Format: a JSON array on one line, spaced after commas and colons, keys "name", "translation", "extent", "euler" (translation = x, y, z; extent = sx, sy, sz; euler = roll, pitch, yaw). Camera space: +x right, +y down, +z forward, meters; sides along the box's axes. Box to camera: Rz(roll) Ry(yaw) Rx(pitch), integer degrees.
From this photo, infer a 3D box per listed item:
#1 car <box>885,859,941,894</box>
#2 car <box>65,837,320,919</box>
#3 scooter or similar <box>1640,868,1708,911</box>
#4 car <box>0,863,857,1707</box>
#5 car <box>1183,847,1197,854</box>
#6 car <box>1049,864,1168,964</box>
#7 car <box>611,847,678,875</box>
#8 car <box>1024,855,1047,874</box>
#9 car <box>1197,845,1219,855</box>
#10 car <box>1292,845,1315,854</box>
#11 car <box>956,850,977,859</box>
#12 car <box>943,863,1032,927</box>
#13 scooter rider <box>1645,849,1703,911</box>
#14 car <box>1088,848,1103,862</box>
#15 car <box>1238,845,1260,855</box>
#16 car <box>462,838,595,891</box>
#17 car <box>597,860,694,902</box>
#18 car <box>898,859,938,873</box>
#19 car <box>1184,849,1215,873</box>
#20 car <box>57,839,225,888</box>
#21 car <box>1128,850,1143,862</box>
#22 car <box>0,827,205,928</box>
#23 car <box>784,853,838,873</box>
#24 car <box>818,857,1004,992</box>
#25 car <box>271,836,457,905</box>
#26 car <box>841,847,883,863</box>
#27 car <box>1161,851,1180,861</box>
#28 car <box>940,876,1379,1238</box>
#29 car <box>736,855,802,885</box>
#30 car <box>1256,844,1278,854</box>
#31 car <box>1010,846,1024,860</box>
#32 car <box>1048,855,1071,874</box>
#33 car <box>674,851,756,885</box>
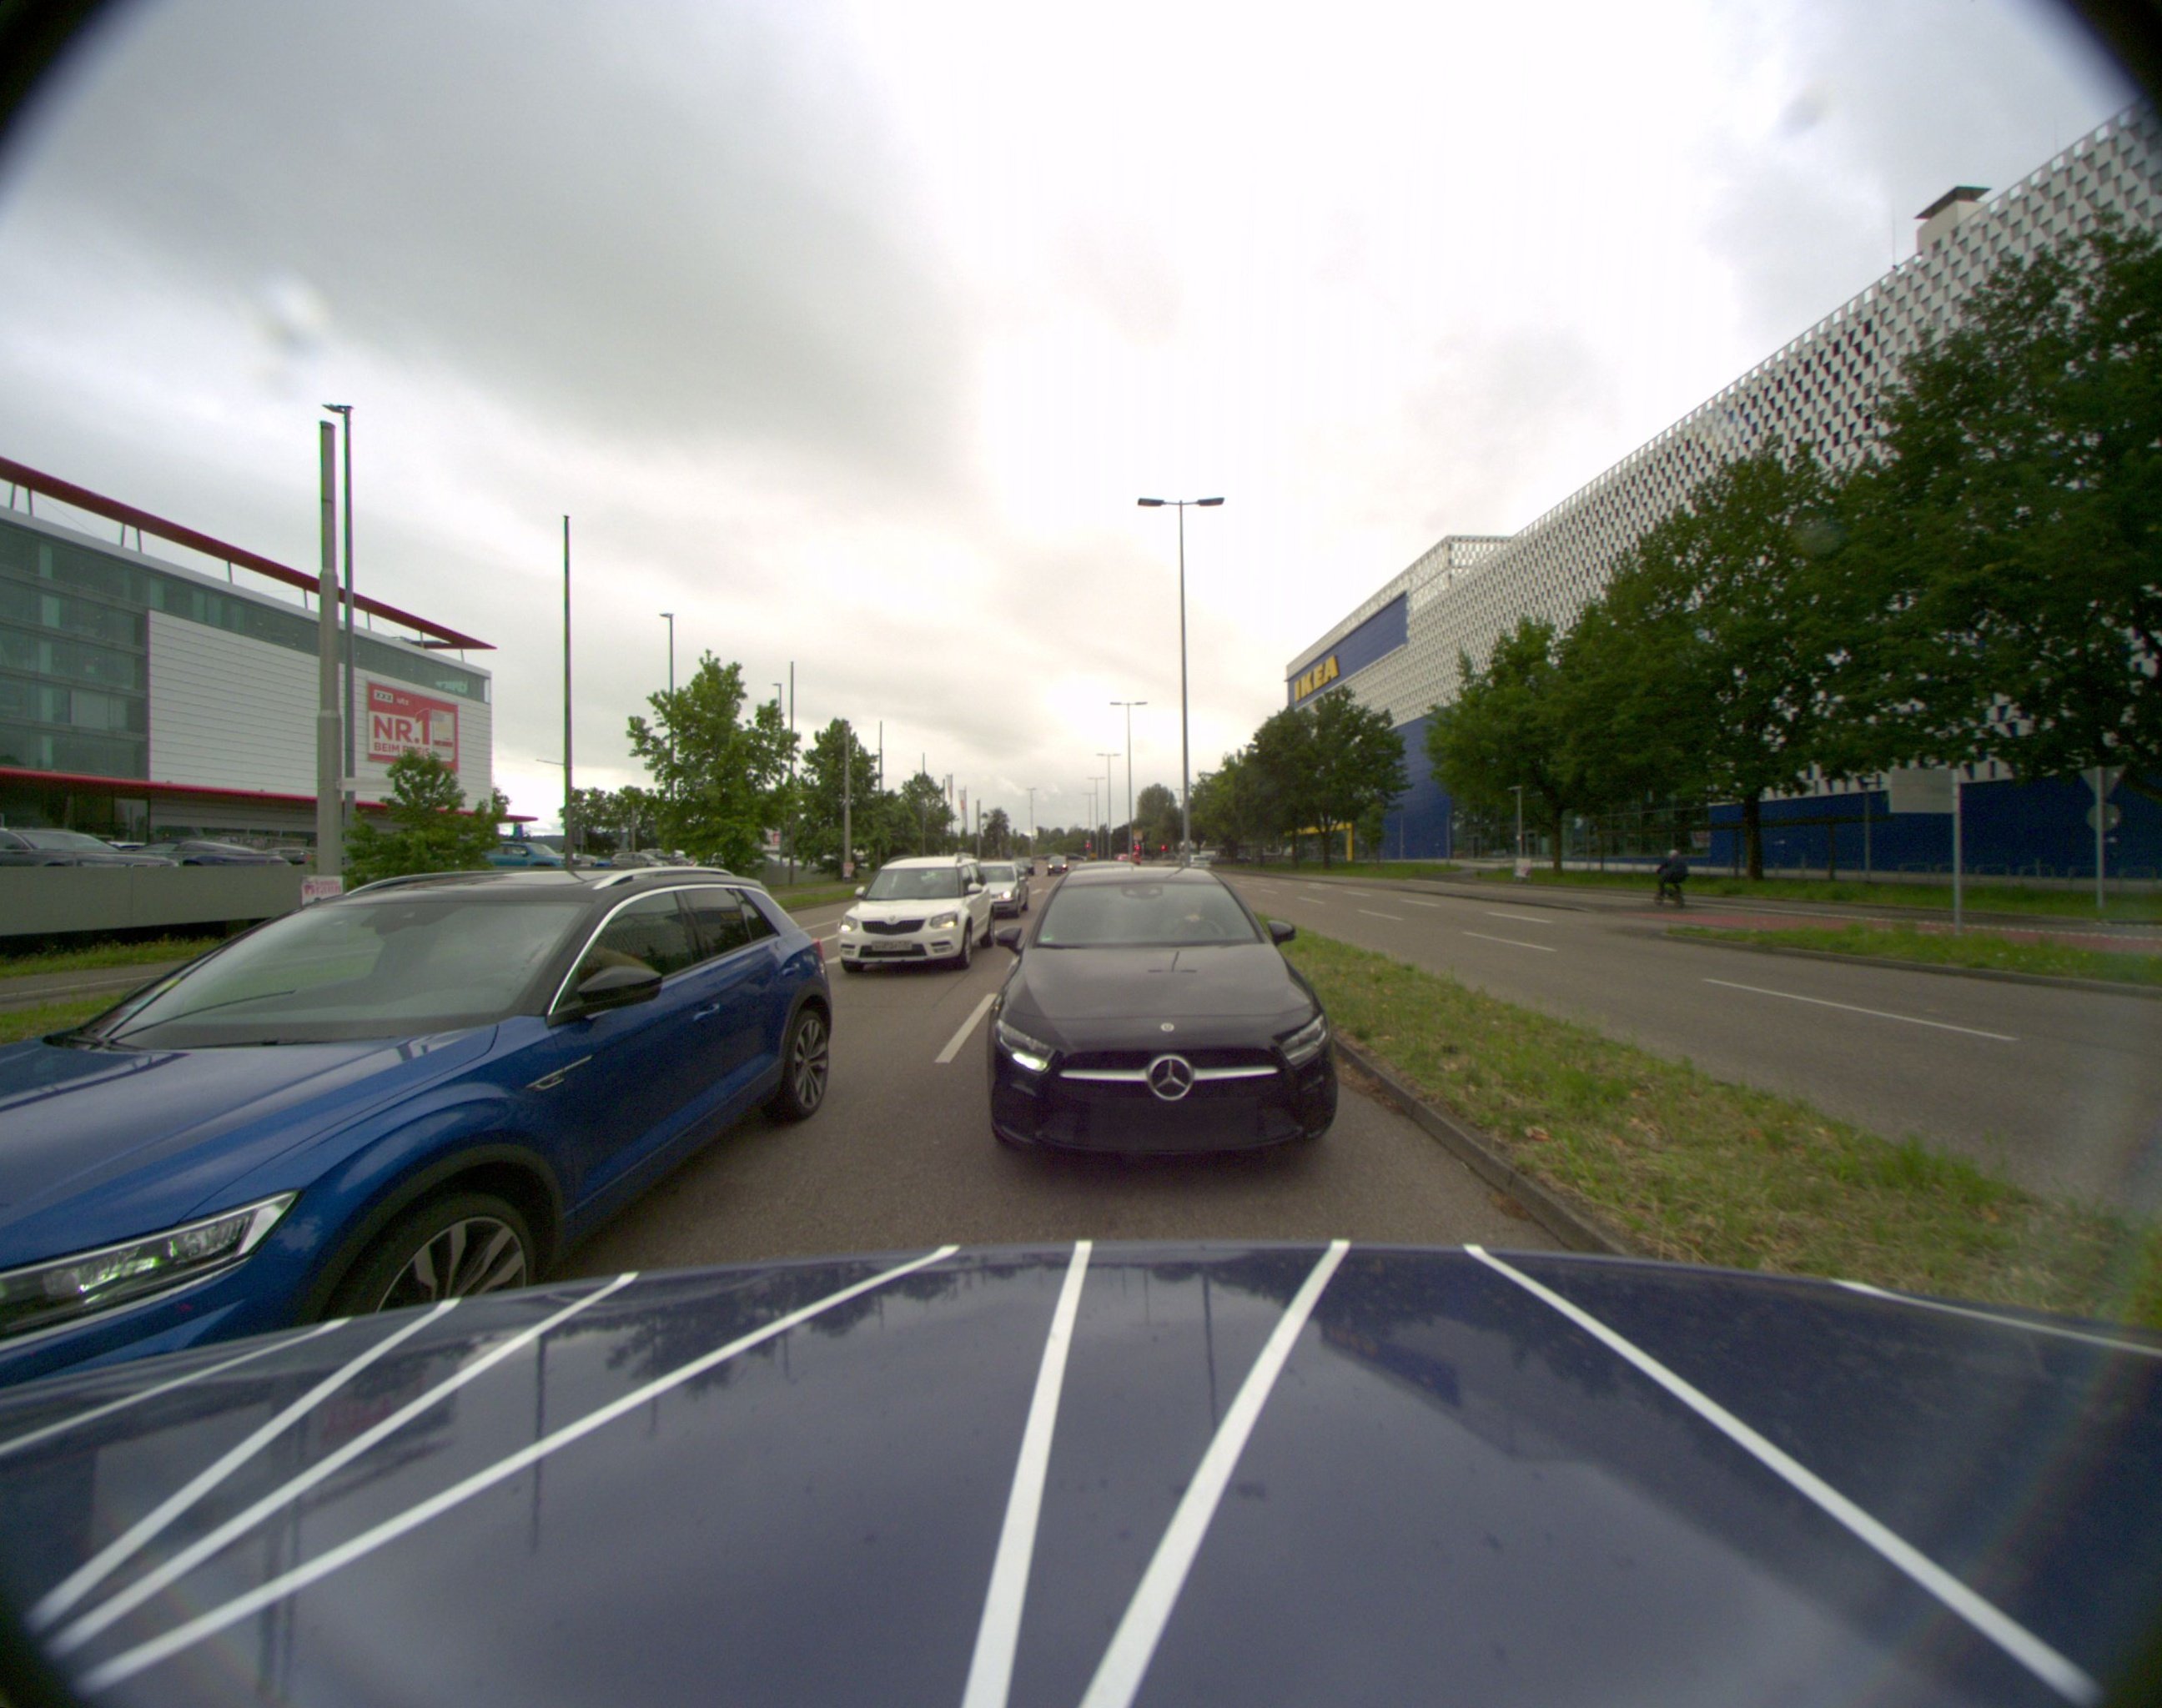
[{"name": "car", "translation": [-7.587, 0.997, 34.575], "extent": [1.694, 1.364, 3.925], "euler": [-2, 1, -1]}, {"name": "car", "translation": [-22.645, 0.577, 19.521], "extent": [3.998, 1.838, 1.999], "euler": [-2, 1, -2]}, {"name": "scooter or similar", "translation": [17.031, 0.999, 21.841], "extent": [0.590, 1.119, 1.423], "euler": [-5, 2, -16]}, {"name": "car", "translation": [-2.578, 0.930, 3.152], "extent": [1.846, 1.612, 4.332], "euler": [-2, 1, 1]}, {"name": "car", "translation": [34.261, -1.102, 238.933], "extent": [4.290, 1.813, 1.743], "euler": [-2, 1, -3]}, {"name": "car", "translation": [0.449, 0.944, 13.750], "extent": [1.767, 1.370, 4.258], "euler": [-2, 1, 1]}, {"name": "car", "translation": [-33.817, 0.536, 58.946], "extent": [3.997, 2.002, 1.999], "euler": [-2, 1, -2]}, {"name": "car", "translation": [-4.256, 0.937, 71.888], "extent": [1.798, 1.615, 4.374], "euler": [-2, 1, 1]}, {"name": "car", "translation": [30.279, -0.946, 181.156], "extent": [4.708, 2.002, 1.999], "euler": [-2, 1, -2]}, {"name": "car", "translation": [46.995, -0.955, 160.551], "extent": [3.999, 1.805, 1.998], "euler": [-2, 1, -7]}, {"name": "car", "translation": [-23.200, 0.026, 153.977], "extent": [3.999, 1.786, 1.999], "euler": [0, 0, -6]}, {"name": "car", "translation": [-2.416, 1.022, 20.686], "extent": [1.801, 1.407, 4.218], "euler": [-2, 1, 1]}, {"name": "scooter rider", "translation": [17.033, 0.734, 21.849], "extent": [0.798, 1.710, 1.038], "euler": [-2, 1, -16]}, {"name": "car", "translation": [2.217, 0.169, 118.556], "extent": [1.999, 2.206, 3.999], "euler": [0, 0, -2]}, {"name": "car", "translation": [30.324, -0.679, 137.077], "extent": [3.565, 1.630, 1.743], "euler": [-2, 1, -3]}, {"name": "car", "translation": [-23.159, 0.419, 31.996], "extent": [3.997, 2.002, 1.999], "euler": [-2, 1, -2]}, {"name": "car", "translation": [-23.368, 1.417, 40.886], "extent": [3.997, 2.002, 1.999], "euler": [-2, 1, -2]}, {"name": "car", "translation": [-19.104, 1.438, 88.953], "extent": [4.216, 1.407, 1.802], "euler": [-2, 1, 0]}, {"name": "car", "translation": [9.798, 0.569, 63.020], "extent": [1.847, 1.875, 3.924], "euler": [-2, 1, -1]}, {"name": "car", "translation": [-37.281, 0.355, 30.226], "extent": [3.998, 1.729, 1.999], "euler": [-2, 1, -2]}, {"name": "car", "translation": [8.464, 0.326, 117.714], "extent": [1.847, 1.709, 3.924], "euler": [-2, 1, -1]}, {"name": "car", "translation": [-22.610, 0.528, 16.531], "extent": [4.529, 2.002, 1.999], "euler": [-2, 1, -2]}, {"name": "car", "translation": [-23.622, 0.765, 66.496], "extent": [3.997, 1.556, 1.796], "euler": [-2, 1, 1]}, {"name": "car", "translation": [-2.430, 0.926, 12.050], "extent": [1.798, 1.615, 4.374], "euler": [-2, 1, 1]}, {"name": "car", "translation": [-23.286, 0.512, 24.815], "extent": [3.997, 2.002, 1.999], "euler": [-2, 1, -2]}, {"name": "car", "translation": [-24.163, 0.079, 83.972], "extent": [3.997, 1.556, 1.796], "euler": [-2, 1, 1]}, {"name": "car", "translation": [20.283, 0.483, 172.637], "extent": [3.997, 2.002, 1.999], "euler": [-2, 1, -2]}, {"name": "car", "translation": [0.369, 0.947, 5.408], "extent": [1.859, 1.426, 4.197], "euler": [-2, 0, 1]}, {"name": "car", "translation": [-23.242, 1.182, 56.659], "extent": [3.997, 2.002, 2.000], "euler": [-2, 1, 0]}, {"name": "car", "translation": [39.164, -1.080, 159.899], "extent": [3.999, 1.805, 1.998], "euler": [-2, 1, -7]}, {"name": "car", "translation": [-10.109, -0.120, 120.139], "extent": [1.999, 2.229, 3.999], "euler": [0, 0, -2]}, {"name": "car", "translation": [-1.881, 0.914, 68.049], "extent": [1.801, 1.565, 4.218], "euler": [-1, 1, 1]}, {"name": "car", "translation": [-24.040, 0.884, 49.970], "extent": [4.324, 2.002, 1.999], "euler": [-2, 1, -2]}]
